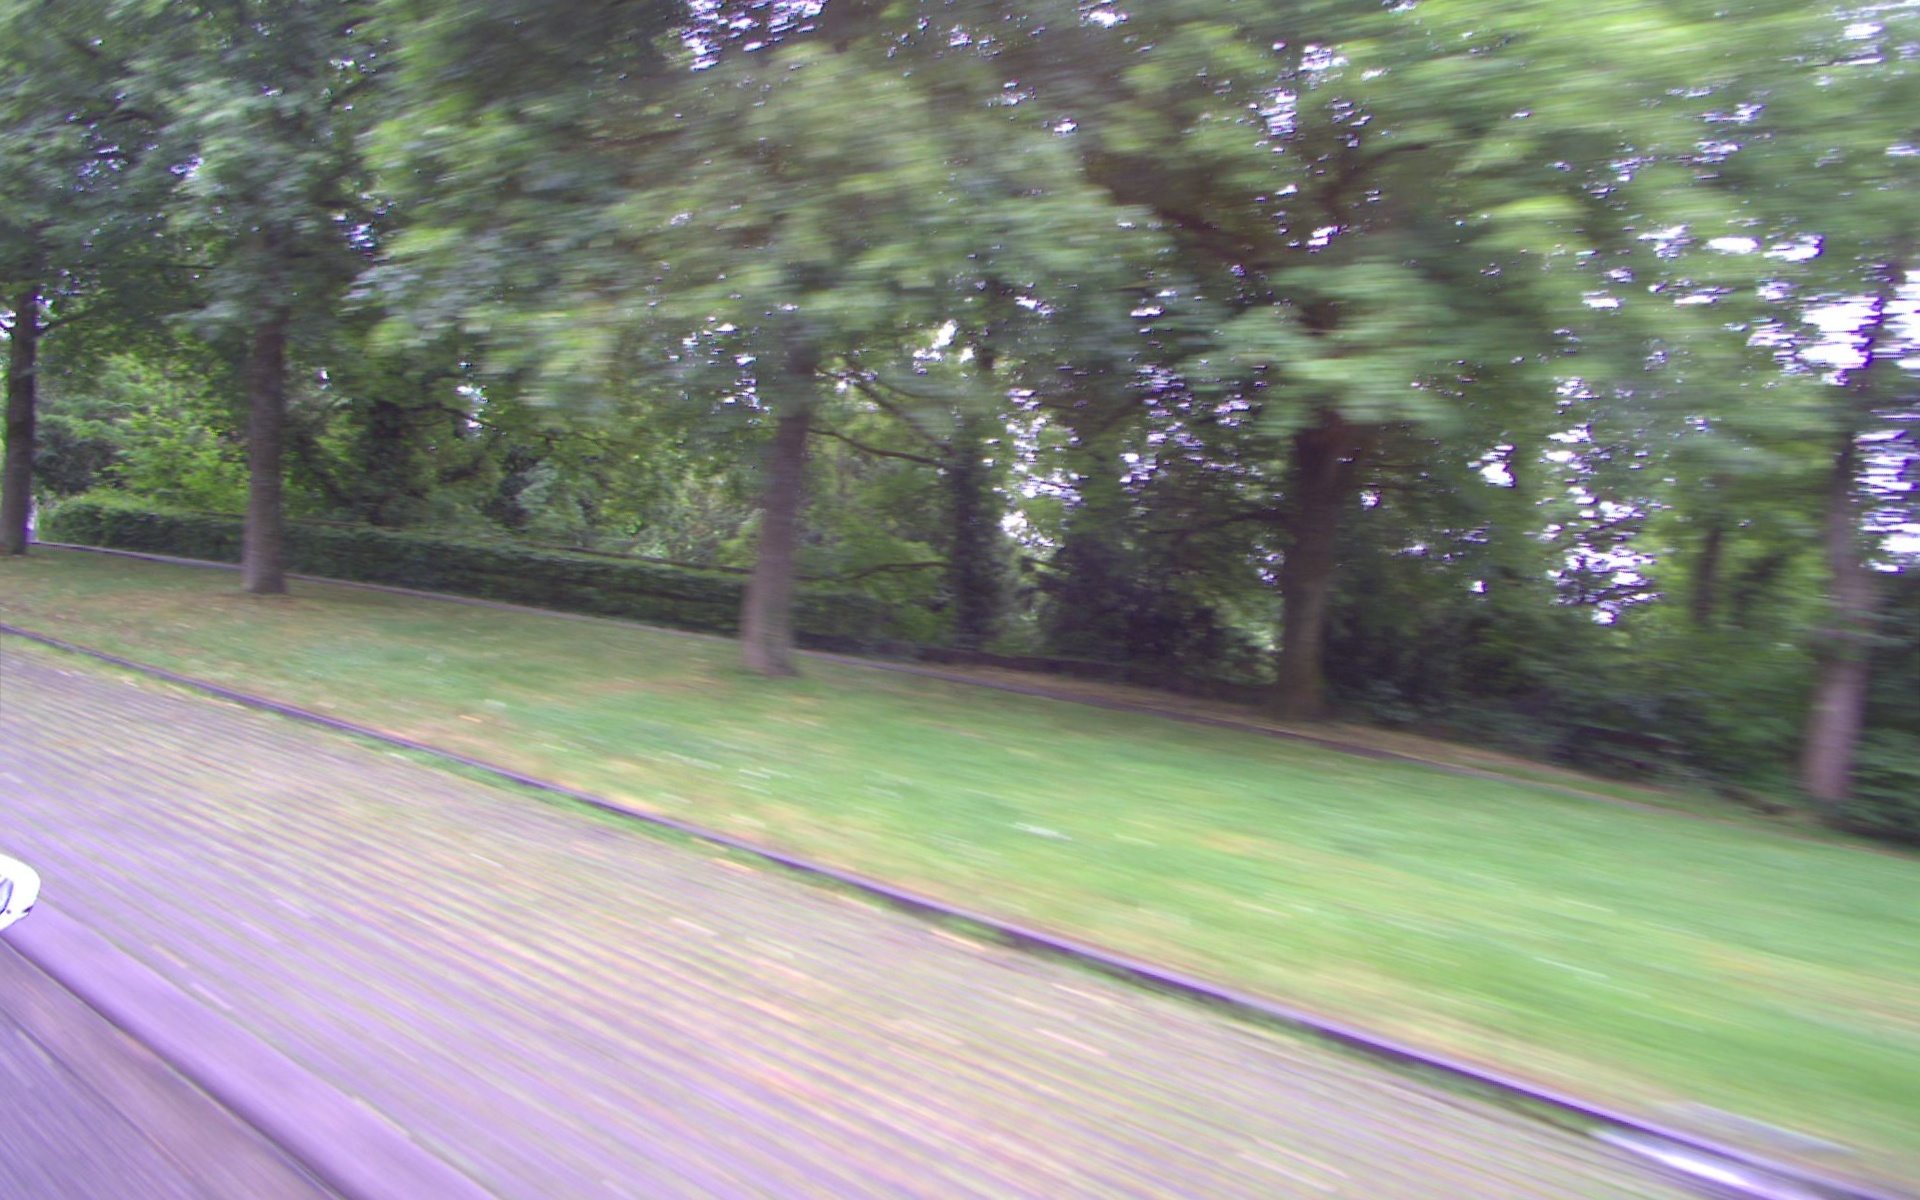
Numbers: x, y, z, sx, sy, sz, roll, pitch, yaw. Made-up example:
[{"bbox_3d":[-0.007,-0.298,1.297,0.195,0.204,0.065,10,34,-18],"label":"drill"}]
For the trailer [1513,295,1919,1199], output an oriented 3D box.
[{"bbox_3d":[3.703,0.948,0.615,5.794,1.836,2.451,7,1,32],"label":"trailer"}]
